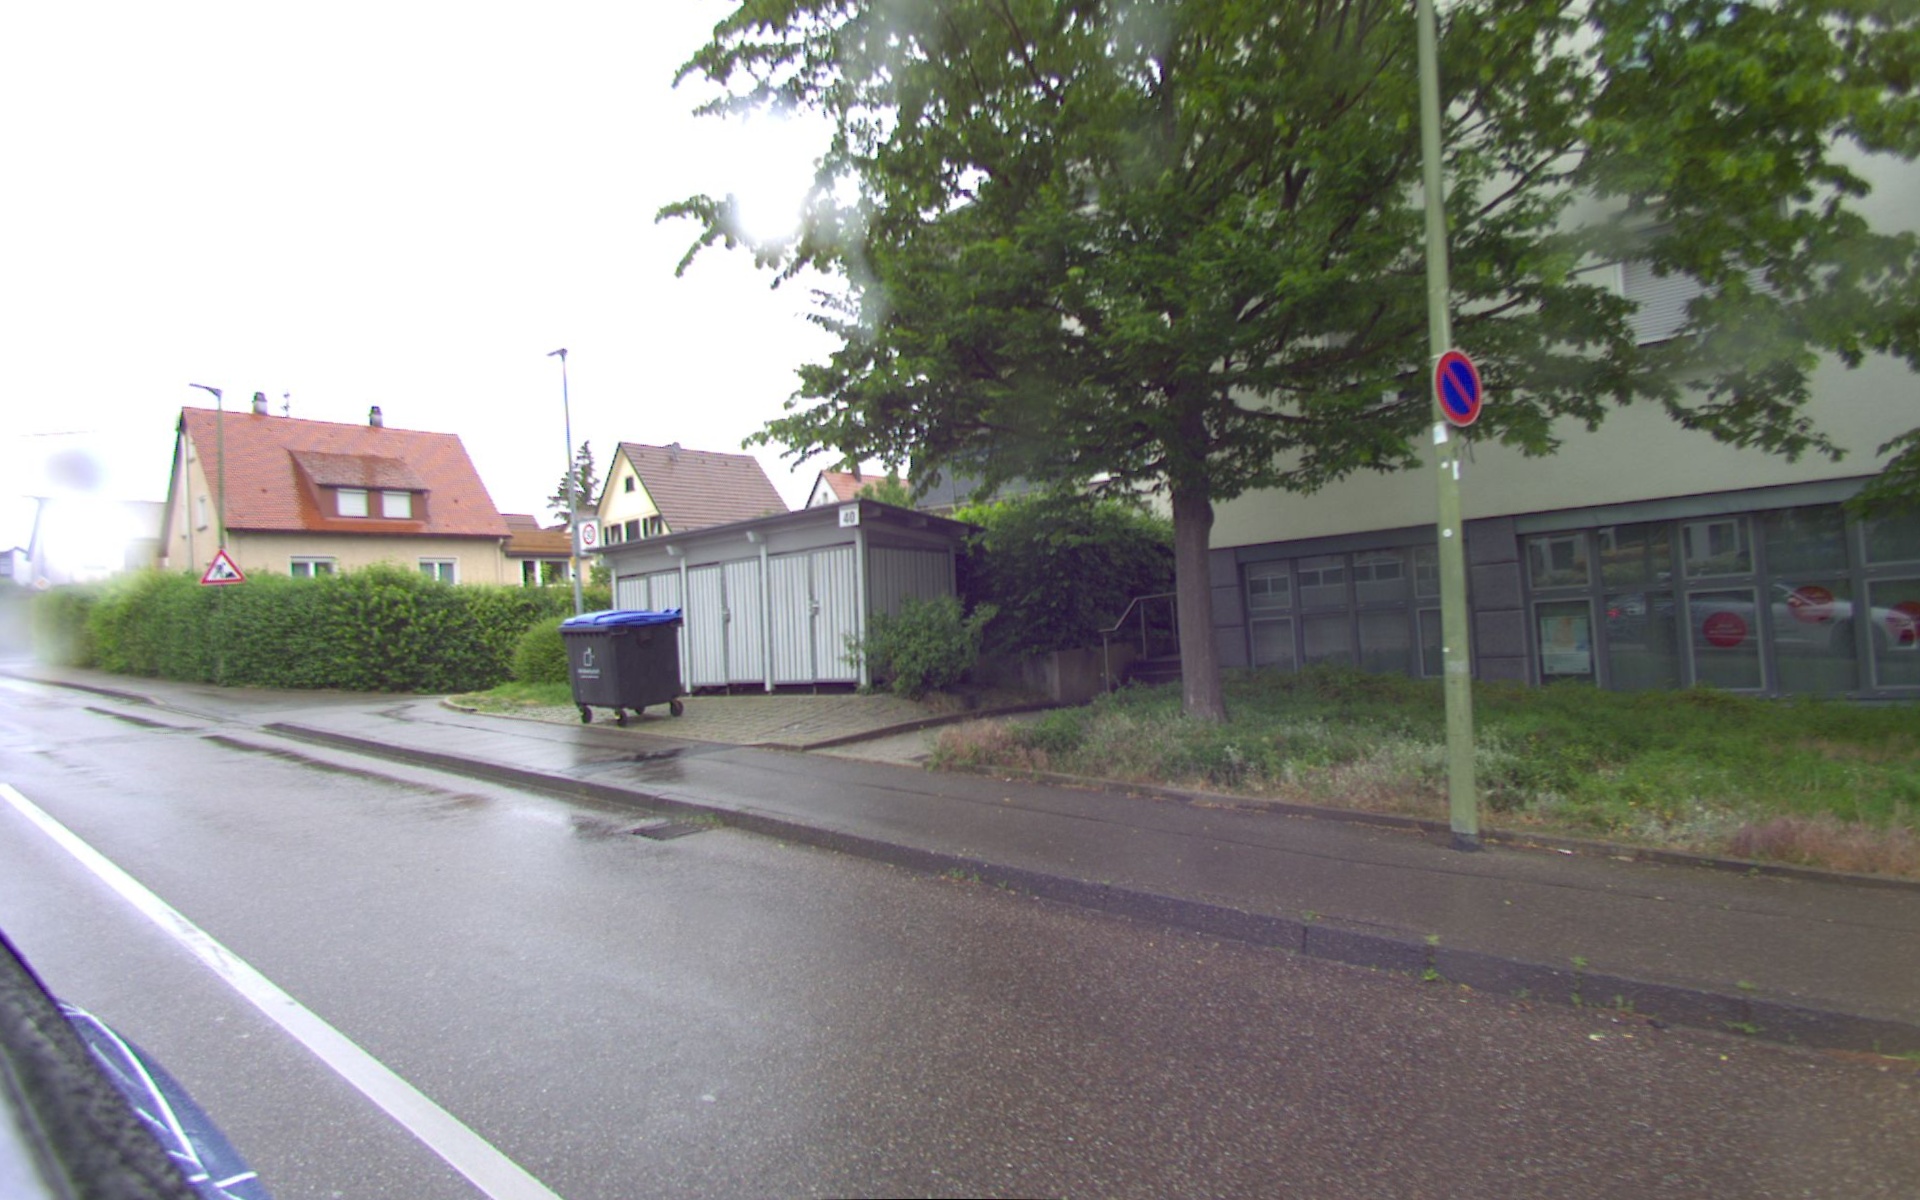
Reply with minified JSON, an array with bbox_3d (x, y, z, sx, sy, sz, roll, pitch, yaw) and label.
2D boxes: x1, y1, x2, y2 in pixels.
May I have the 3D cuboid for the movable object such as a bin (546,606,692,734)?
[{"bbox_3d":[-4.047,0.794,12.021,1.317,1.357,1.061,-2,1,39],"label":"movable object such as a bin"}]
